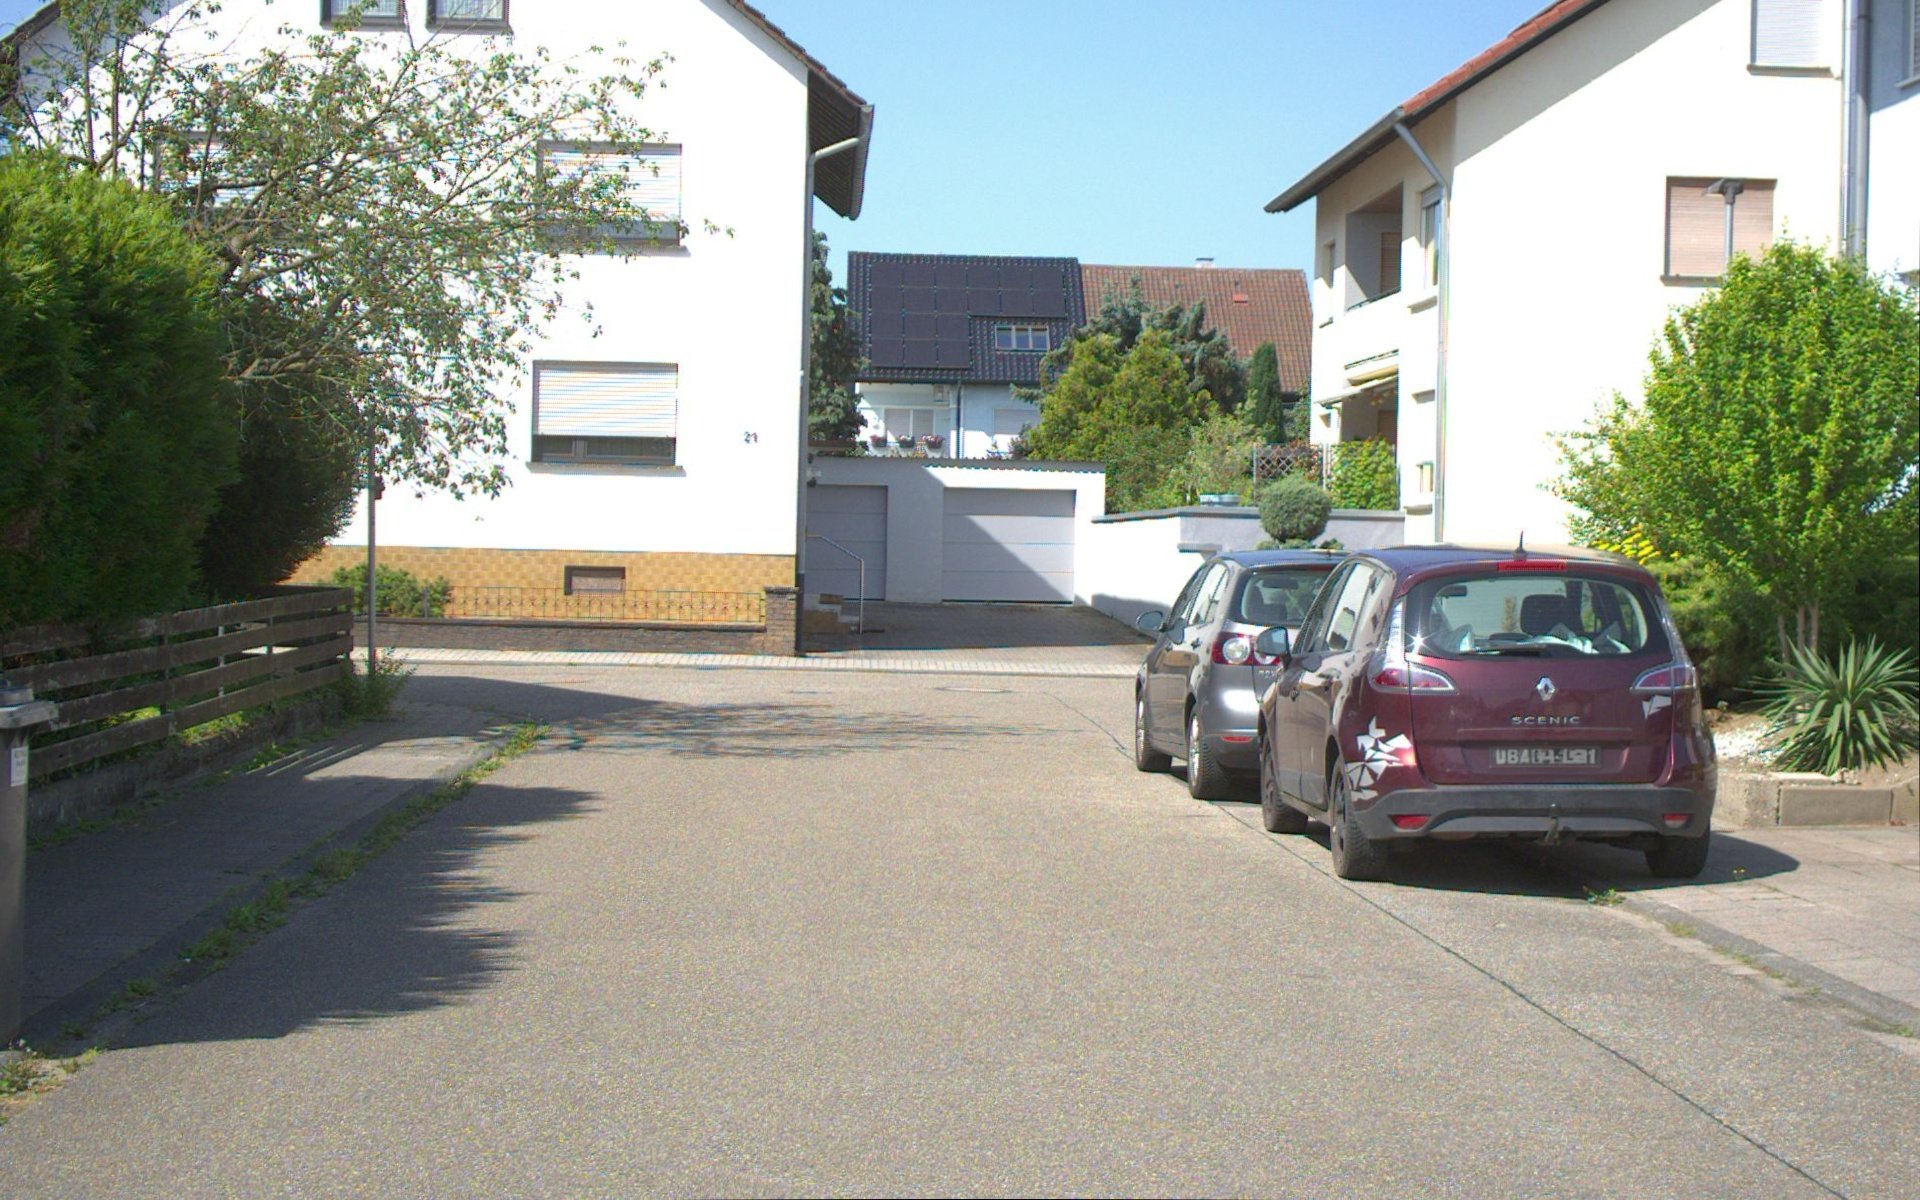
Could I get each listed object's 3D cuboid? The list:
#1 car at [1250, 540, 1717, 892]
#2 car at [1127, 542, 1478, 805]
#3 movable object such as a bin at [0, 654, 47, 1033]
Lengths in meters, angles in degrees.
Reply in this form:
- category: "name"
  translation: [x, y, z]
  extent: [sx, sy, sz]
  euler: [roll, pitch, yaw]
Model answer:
- category: "car"
  translation: [2.580, 0.497, 17.850]
  extent: [1.645, 1.576, 4.148]
  euler: [1, 1, -2]
- category: "car"
  translation: [2.169, 0.414, 22.767]
  extent: [1.645, 1.540, 4.048]
  euler: [1, 1, -4]
- category: "movable object such as a bin"
  translation: [-3.148, 0.694, 10.013]
  extent: [0.818, 1.060, 0.611]
  euler: [1, 1, -2]
